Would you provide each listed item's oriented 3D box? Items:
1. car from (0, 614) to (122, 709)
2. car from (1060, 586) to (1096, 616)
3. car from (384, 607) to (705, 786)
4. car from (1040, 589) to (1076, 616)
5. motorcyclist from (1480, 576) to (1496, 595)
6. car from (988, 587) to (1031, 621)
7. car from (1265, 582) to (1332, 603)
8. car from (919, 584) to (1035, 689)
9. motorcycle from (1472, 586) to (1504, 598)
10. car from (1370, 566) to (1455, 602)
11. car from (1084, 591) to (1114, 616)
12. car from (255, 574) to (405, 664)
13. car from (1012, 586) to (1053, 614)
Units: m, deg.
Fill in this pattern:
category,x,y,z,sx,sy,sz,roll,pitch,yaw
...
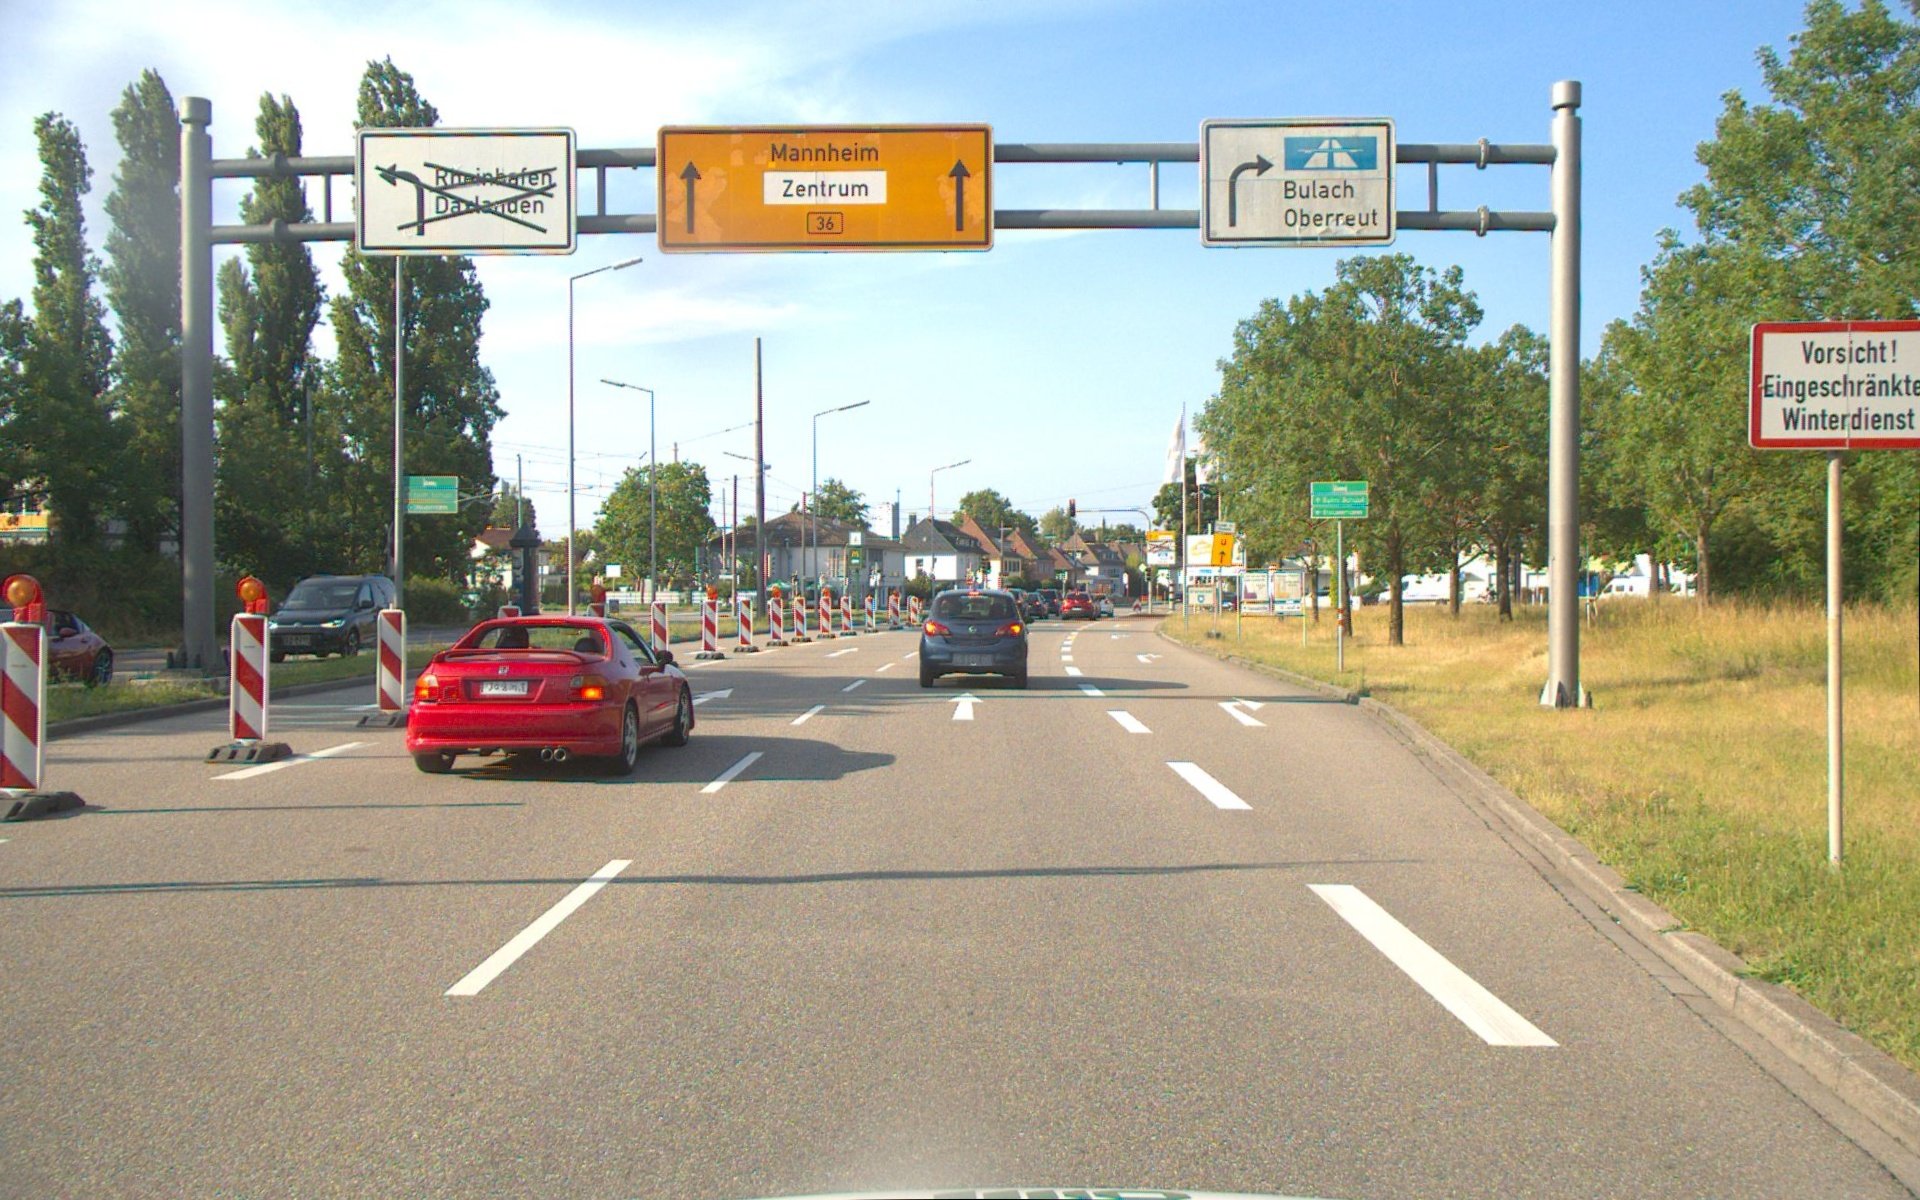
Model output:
category,x,y,z,sx,sy,sz,roll,pitch,yaw
car,-13.642,0.833,23.846,1.481,1.178,3.669,0,1,-4
car,6.484,0.014,90.482,1.670,1.579,3.981,-1,0,8
car,-3.362,0.720,14.130,1.695,1.227,3.847,1,1,1
car,6.210,0.138,104.484,1.474,1.680,4.748,-1,0,13
motorcyclist,39.404,-1.076,123.532,1.043,1.375,0.680,-1,0,10
car,2.512,0.178,83.300,1.726,1.700,4.088,0,0,8
car,25.919,-0.571,126.774,4.986,1.590,1.841,-1,0,11
car,0.317,0.526,26.691,1.705,1.532,4.224,-1,1,2
motorcycle,39.413,-0.614,123.536,2.222,0.882,0.691,-1,0,10
car,34.179,-1.226,125.146,6.075,2.629,2.002,-1,0,11
car,8.708,0.192,103.575,1.621,1.468,4.017,-1,0,8
car,-13.700,0.377,36.228,1.749,1.838,4.123,-1,1,-1
car,4.154,-0.029,94.042,1.663,1.534,4.558,0,0,11
